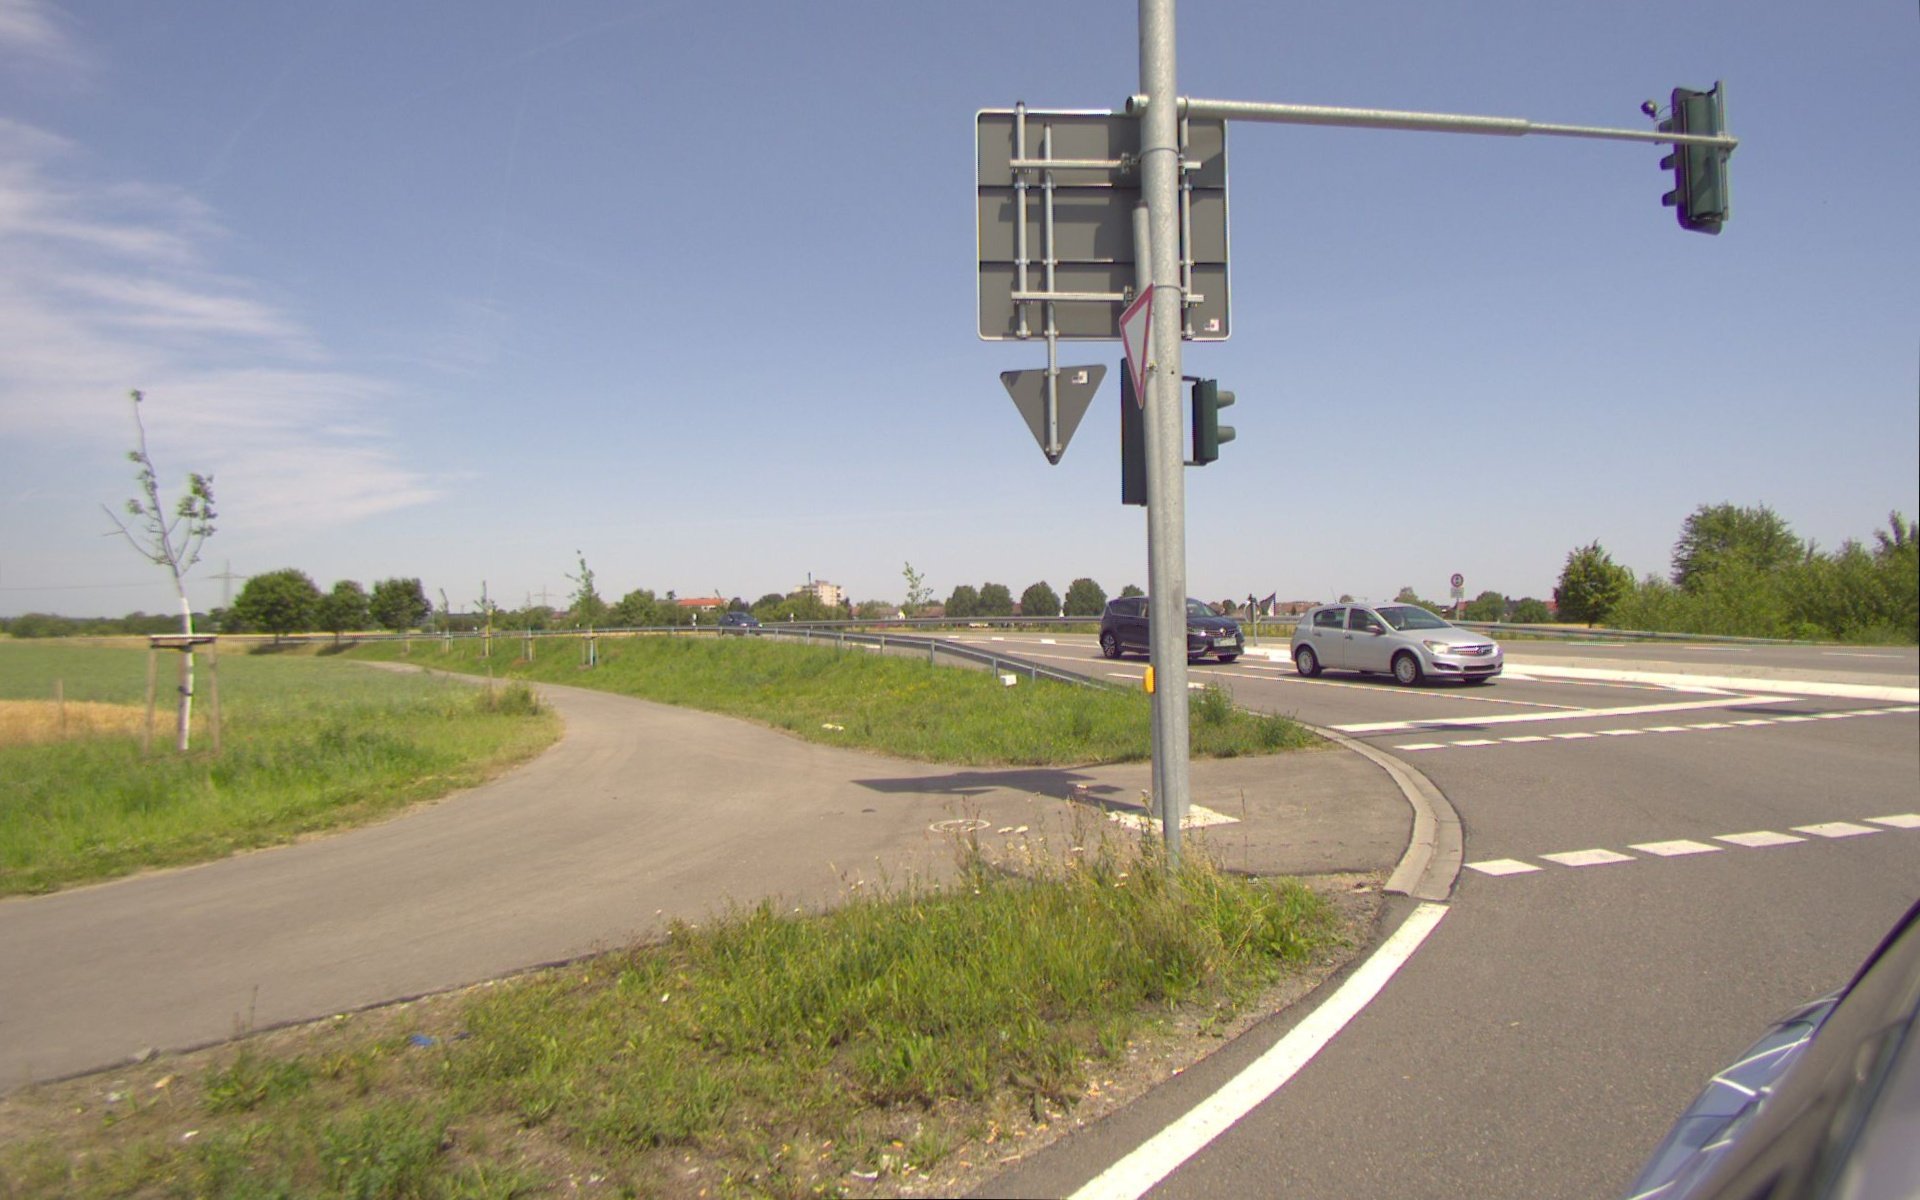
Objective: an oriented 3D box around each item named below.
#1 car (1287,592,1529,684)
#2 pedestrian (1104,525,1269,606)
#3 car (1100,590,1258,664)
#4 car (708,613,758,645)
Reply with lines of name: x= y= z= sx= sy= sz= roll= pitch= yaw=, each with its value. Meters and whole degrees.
car: x=8.023 y=0.645 z=18.594 sx=1.626 sy=1.478 sz=4.160 roll=-1 pitch=-1 yaw=-20
pedestrian: x=6.082 y=-0.885 z=27.217 sx=3.917 sy=2.039 sz=2.003 roll=-1 pitch=0 yaw=-25
car: x=5.441 y=0.631 z=25.756 sx=1.776 sy=1.661 sz=4.536 roll=-1 pitch=0 yaw=-20
car: x=-13.923 y=1.771 z=61.884 sx=1.882 sy=1.831 sz=3.922 roll=0 pitch=-2 yaw=-30
